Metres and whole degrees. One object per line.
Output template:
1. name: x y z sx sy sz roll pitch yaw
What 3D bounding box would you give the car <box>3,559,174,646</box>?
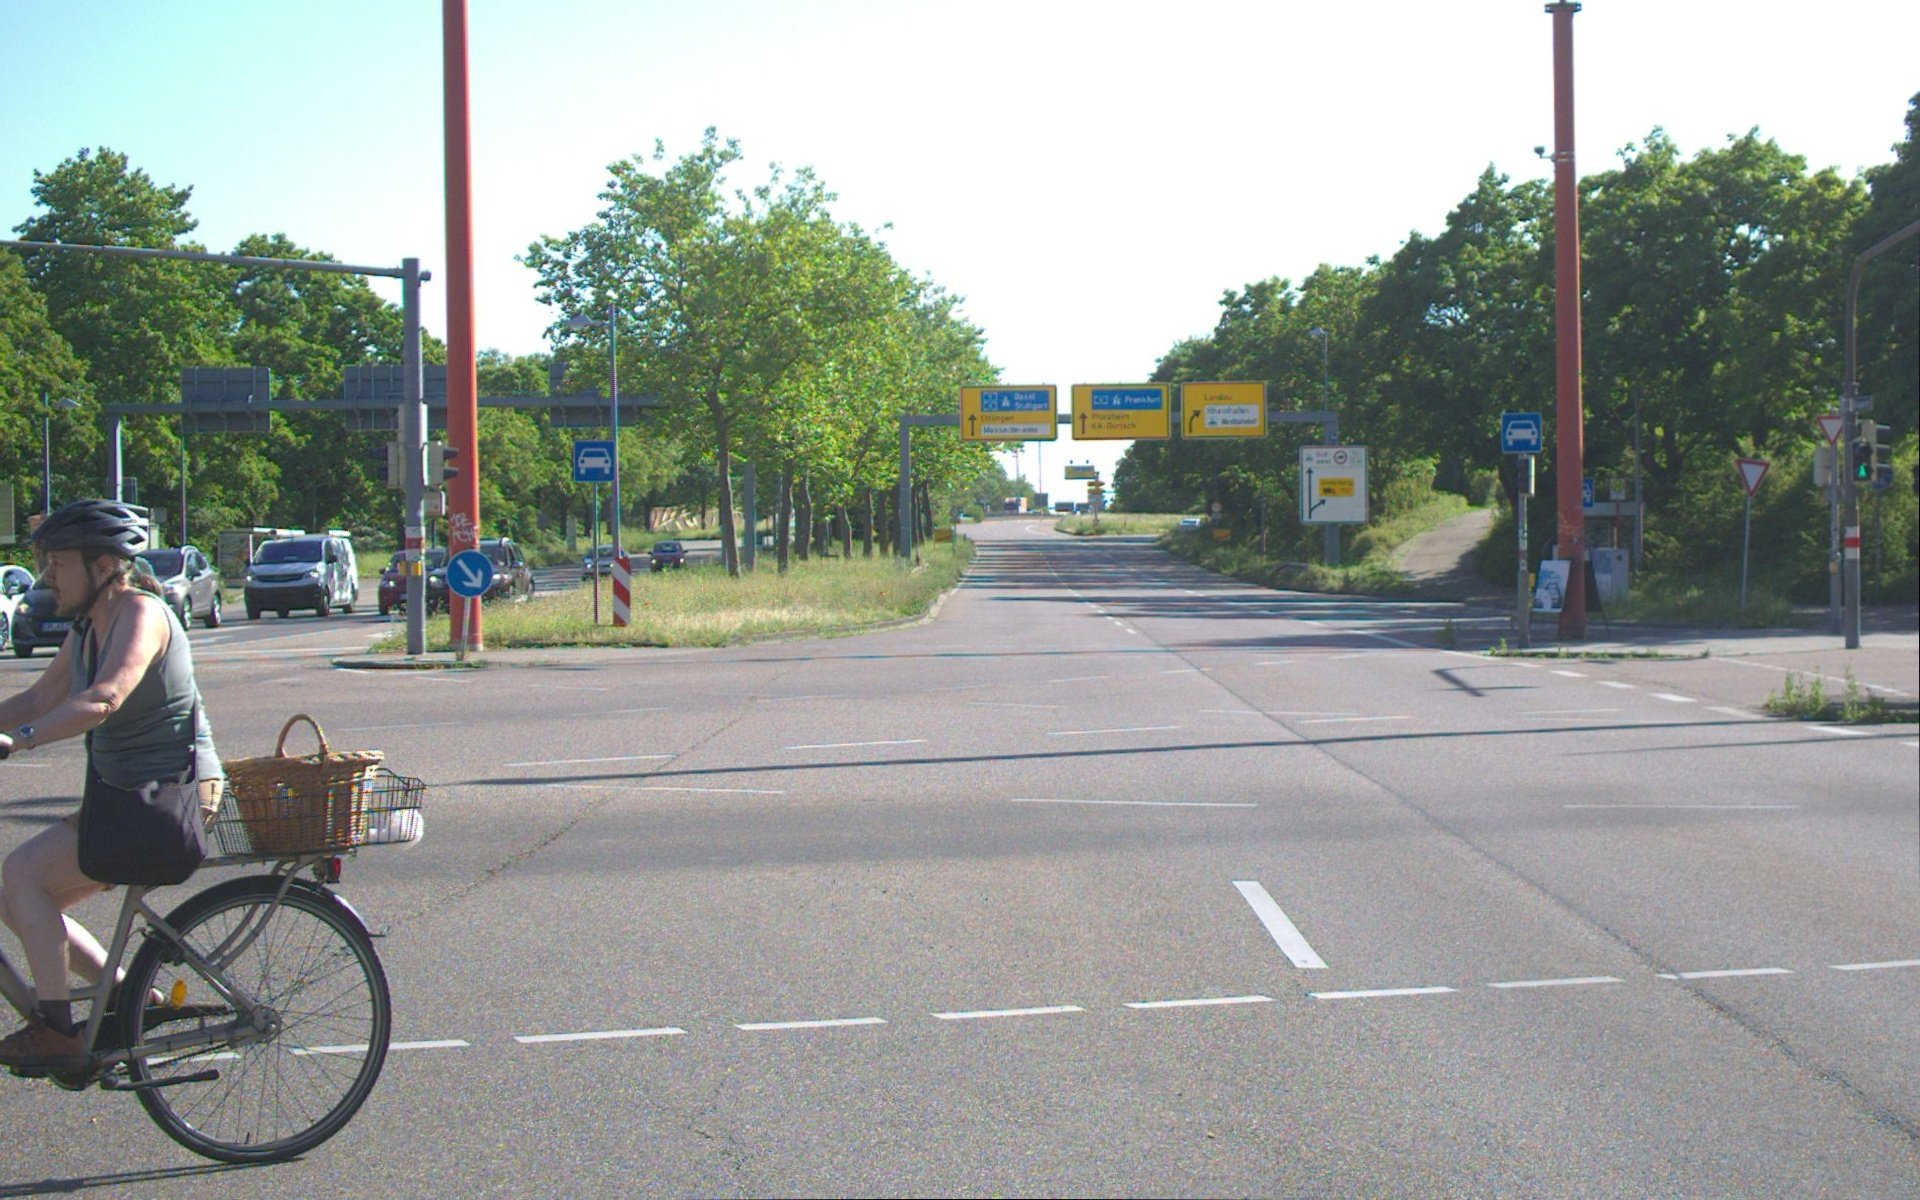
1. car: -13.112 0.016 51.908 1.739 1.239 3.613 -1 1 -1

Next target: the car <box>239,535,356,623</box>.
1. car: -15.770 -0.539 82.086 1.893 2.019 5.224 -1 1 -1

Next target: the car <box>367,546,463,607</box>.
1. car: -12.615 -0.556 79.737 1.739 1.357 3.613 -1 1 -1

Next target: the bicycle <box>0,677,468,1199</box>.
1. bicycle: -2.240 0.819 8.323 1.942 1.191 0.692 -1 1 -28

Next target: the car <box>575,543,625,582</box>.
1. car: -15.224 -1.592 145.480 1.797 1.634 4.000 0 1 -2

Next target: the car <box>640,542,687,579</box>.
1. car: -13.521 -1.819 157.105 1.819 1.623 4.000 -1 1 -1

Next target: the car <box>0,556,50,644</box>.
1. car: -16.420 -0.016 57.054 1.739 1.406 3.613 -1 1 -1

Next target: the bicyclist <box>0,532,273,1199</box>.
1. bicyclist: -2.105 0.628 8.392 0.660 1.579 0.673 -1 1 -28

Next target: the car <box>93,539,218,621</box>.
1. car: -16.234 -0.419 69.523 1.739 1.606 3.613 -1 1 -1

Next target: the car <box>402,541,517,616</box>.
1. car: -10.316 -0.463 71.022 1.819 1.503 4.000 -1 1 -1
